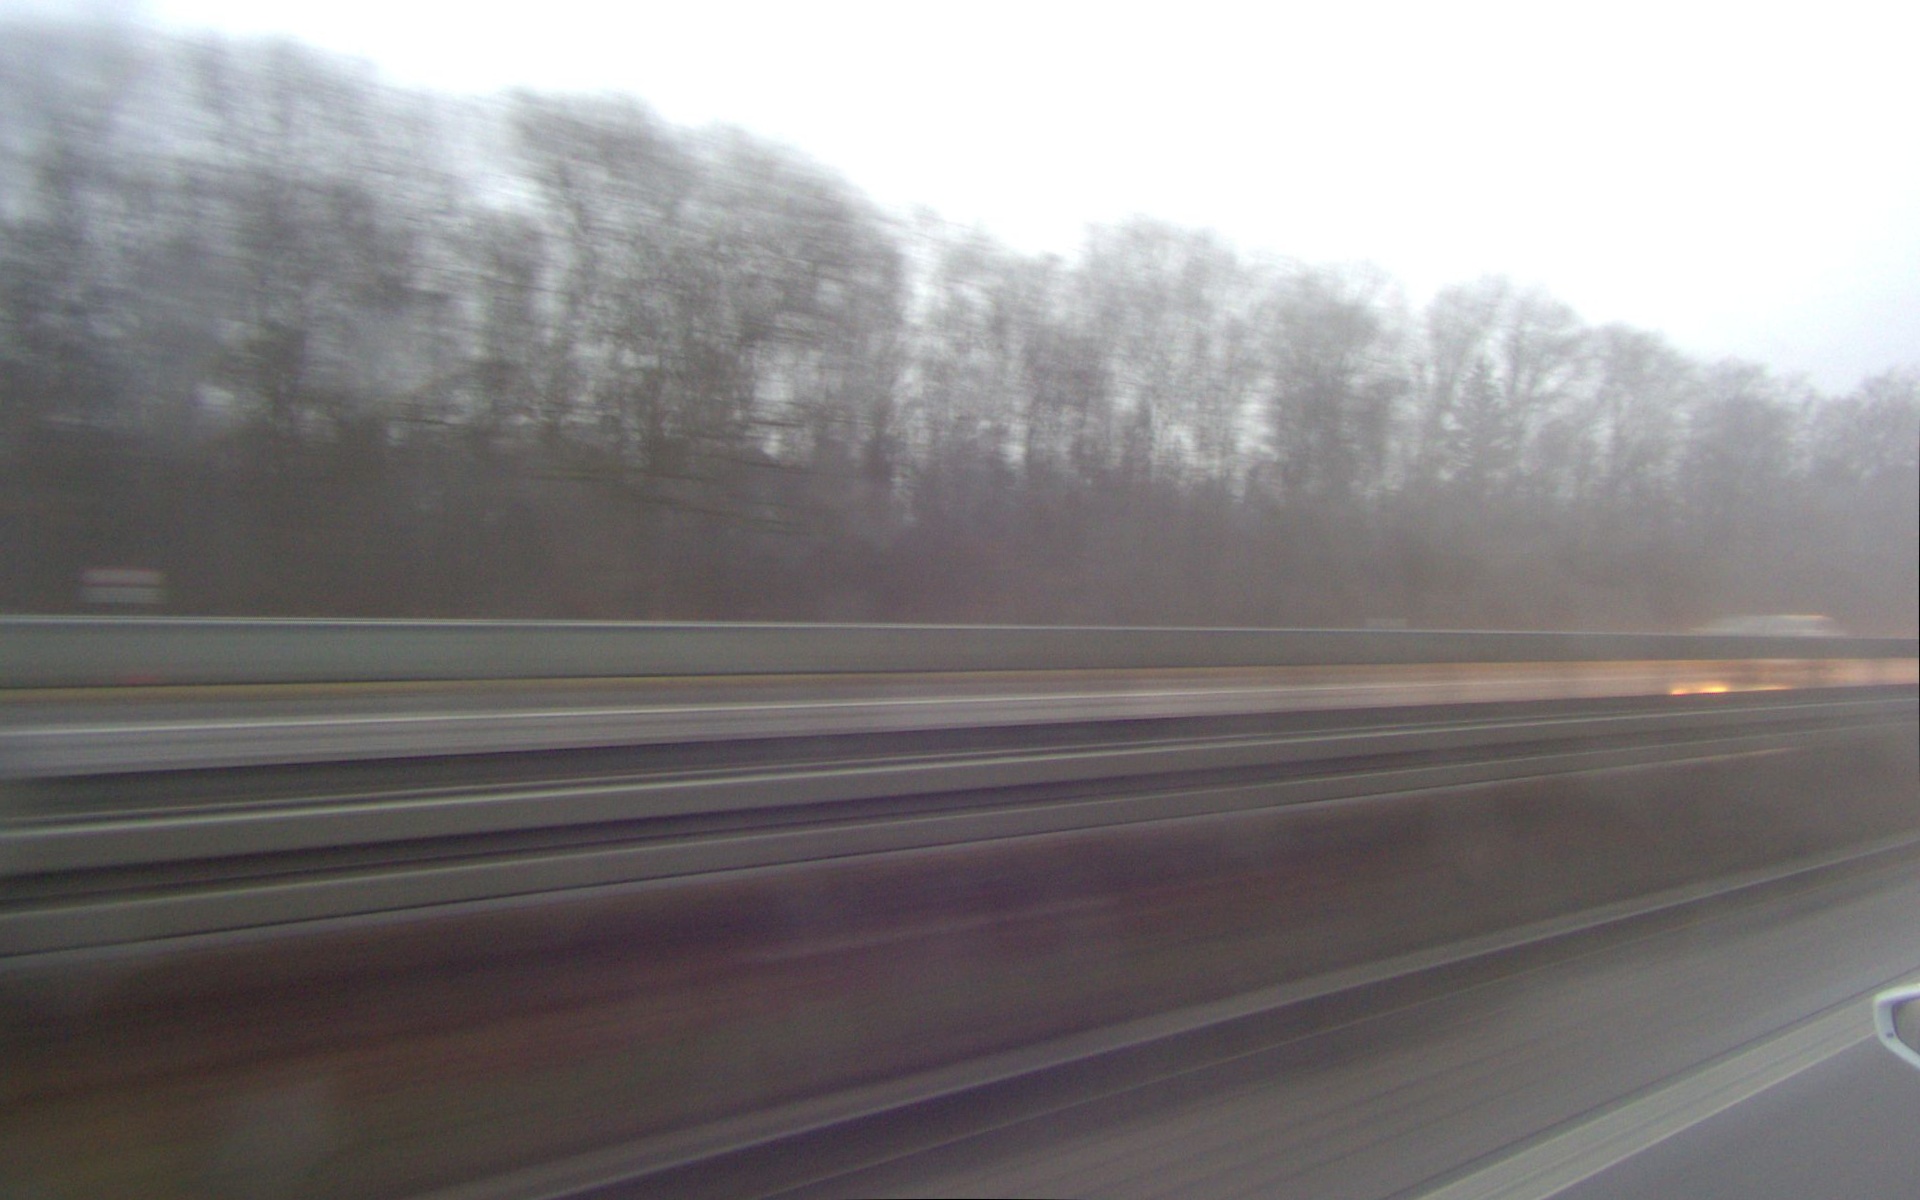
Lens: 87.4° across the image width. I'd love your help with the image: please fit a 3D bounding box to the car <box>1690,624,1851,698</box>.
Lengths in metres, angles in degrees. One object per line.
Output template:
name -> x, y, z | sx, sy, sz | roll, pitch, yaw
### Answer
car -> 20.469, 1.505, 25.331 | 4.552, 1.669, 1.681 | 2, 0, -31
